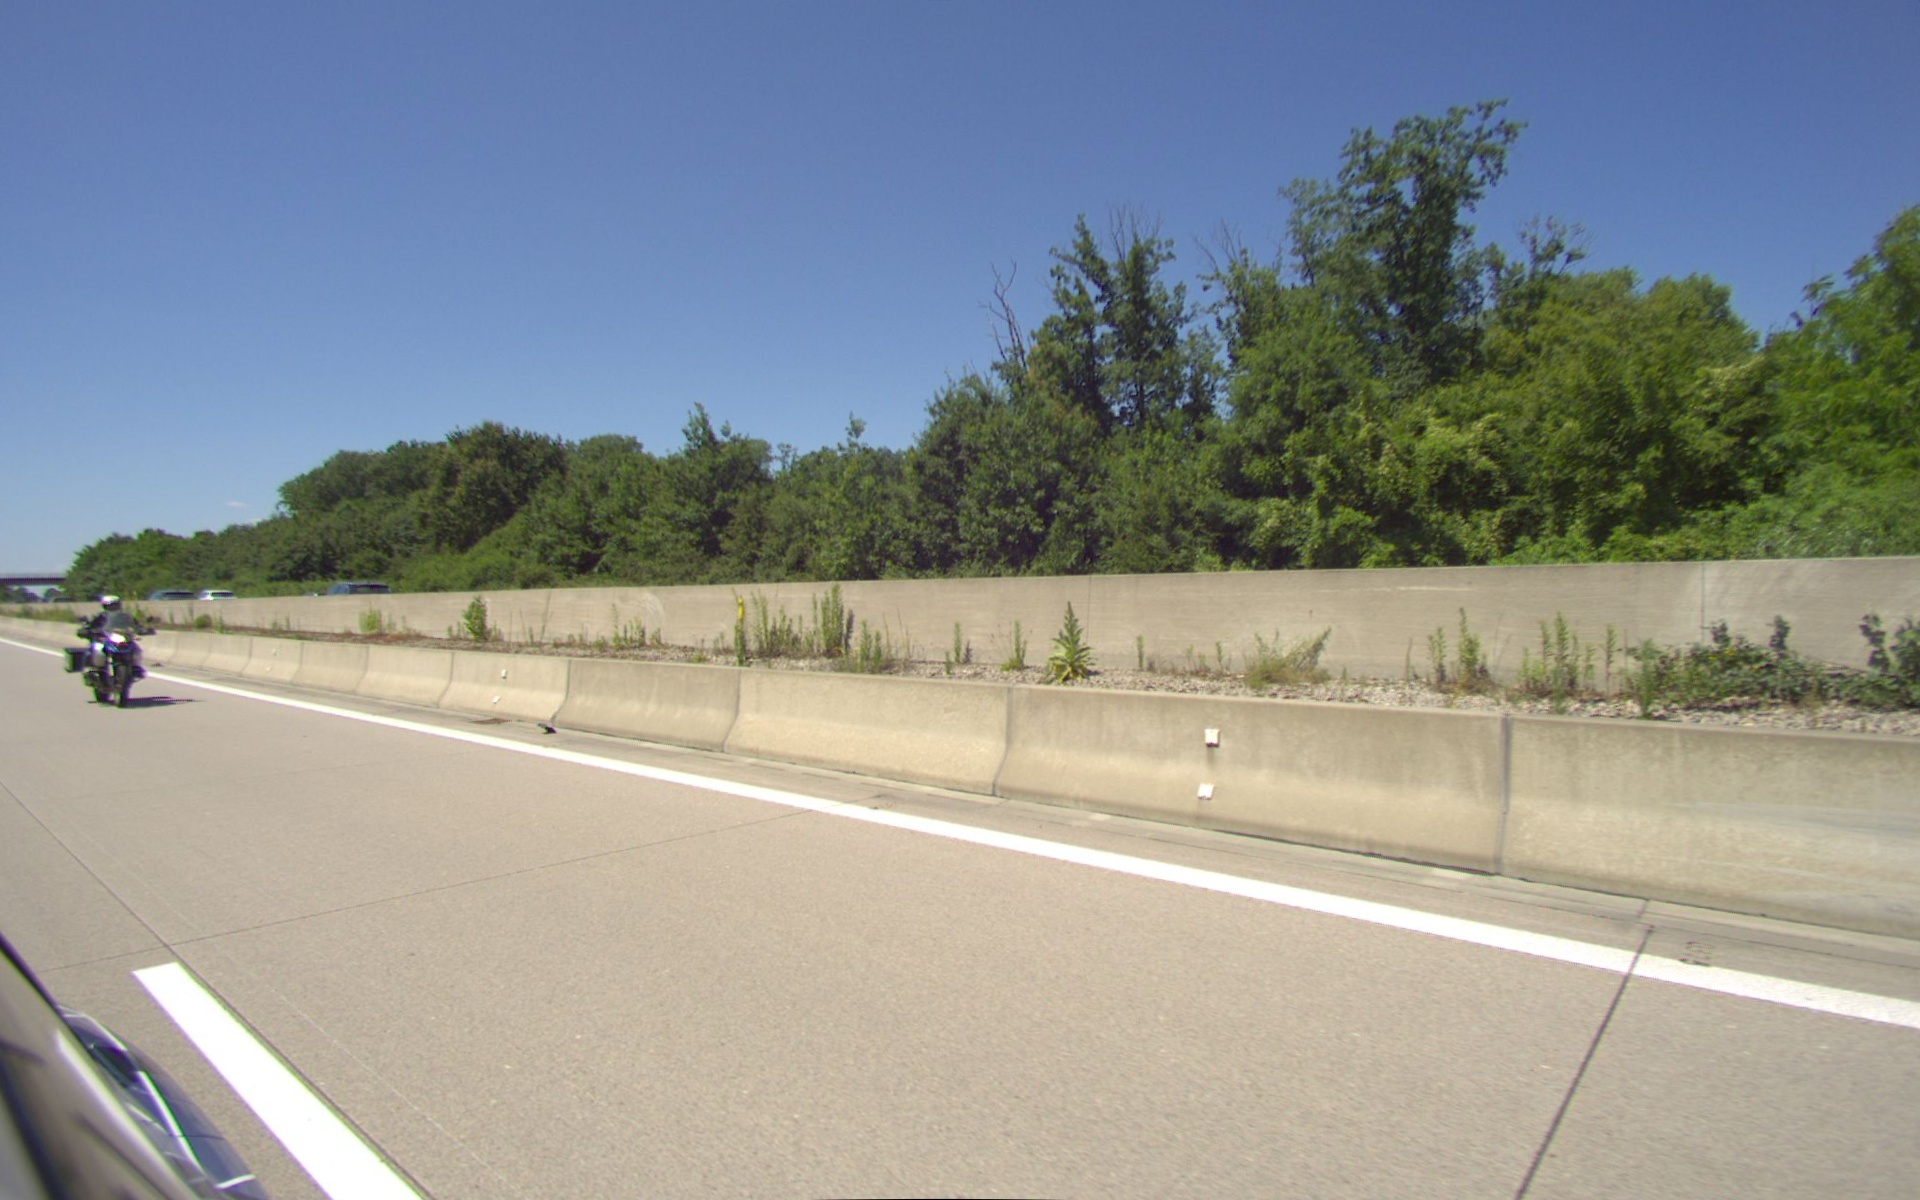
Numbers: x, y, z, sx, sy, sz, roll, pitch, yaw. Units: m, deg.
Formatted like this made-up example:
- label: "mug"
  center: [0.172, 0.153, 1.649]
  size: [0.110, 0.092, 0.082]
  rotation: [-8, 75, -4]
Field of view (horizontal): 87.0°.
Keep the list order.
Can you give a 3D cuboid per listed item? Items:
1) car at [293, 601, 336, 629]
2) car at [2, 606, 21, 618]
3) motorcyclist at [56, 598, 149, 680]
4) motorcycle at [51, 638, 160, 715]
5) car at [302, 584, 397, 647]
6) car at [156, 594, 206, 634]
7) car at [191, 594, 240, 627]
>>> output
- label: "car"
  center: [-40.970, 0.956, 64.227]
  size: [3.272, 1.728, 1.417]
  rotation: [-1, 0, 41]
- label: "car"
  center: [-144.921, 1.875, 154.645]
  size: [4.404, 1.670, 1.685]
  rotation: [-3, -4, 41]
- label: "motorcyclist"
  center: [-13.330, 0.589, 15.734]
  size: [0.911, 1.218, 1.013]
  rotation: [-2, -1, 43]
- label: "motorcycle"
  center: [-13.275, 1.136, 15.689]
  size: [2.413, 1.056, 1.010]
  rotation: [-2, -1, 43]
- label: "car"
  center: [-20.993, 0.536, 34.721]
  size: [4.785, 2.029, 1.417]
  rotation: [-1, 0, 41]
- label: "car"
  center: [-40.766, 0.723, 52.926]
  size: [3.519, 2.029, 1.417]
  rotation: [-1, 0, 41]
- label: "car"
  center: [-46.712, 0.656, 63.475]
  size: [4.101, 2.029, 1.617]
  rotation: [-1, 0, 41]
